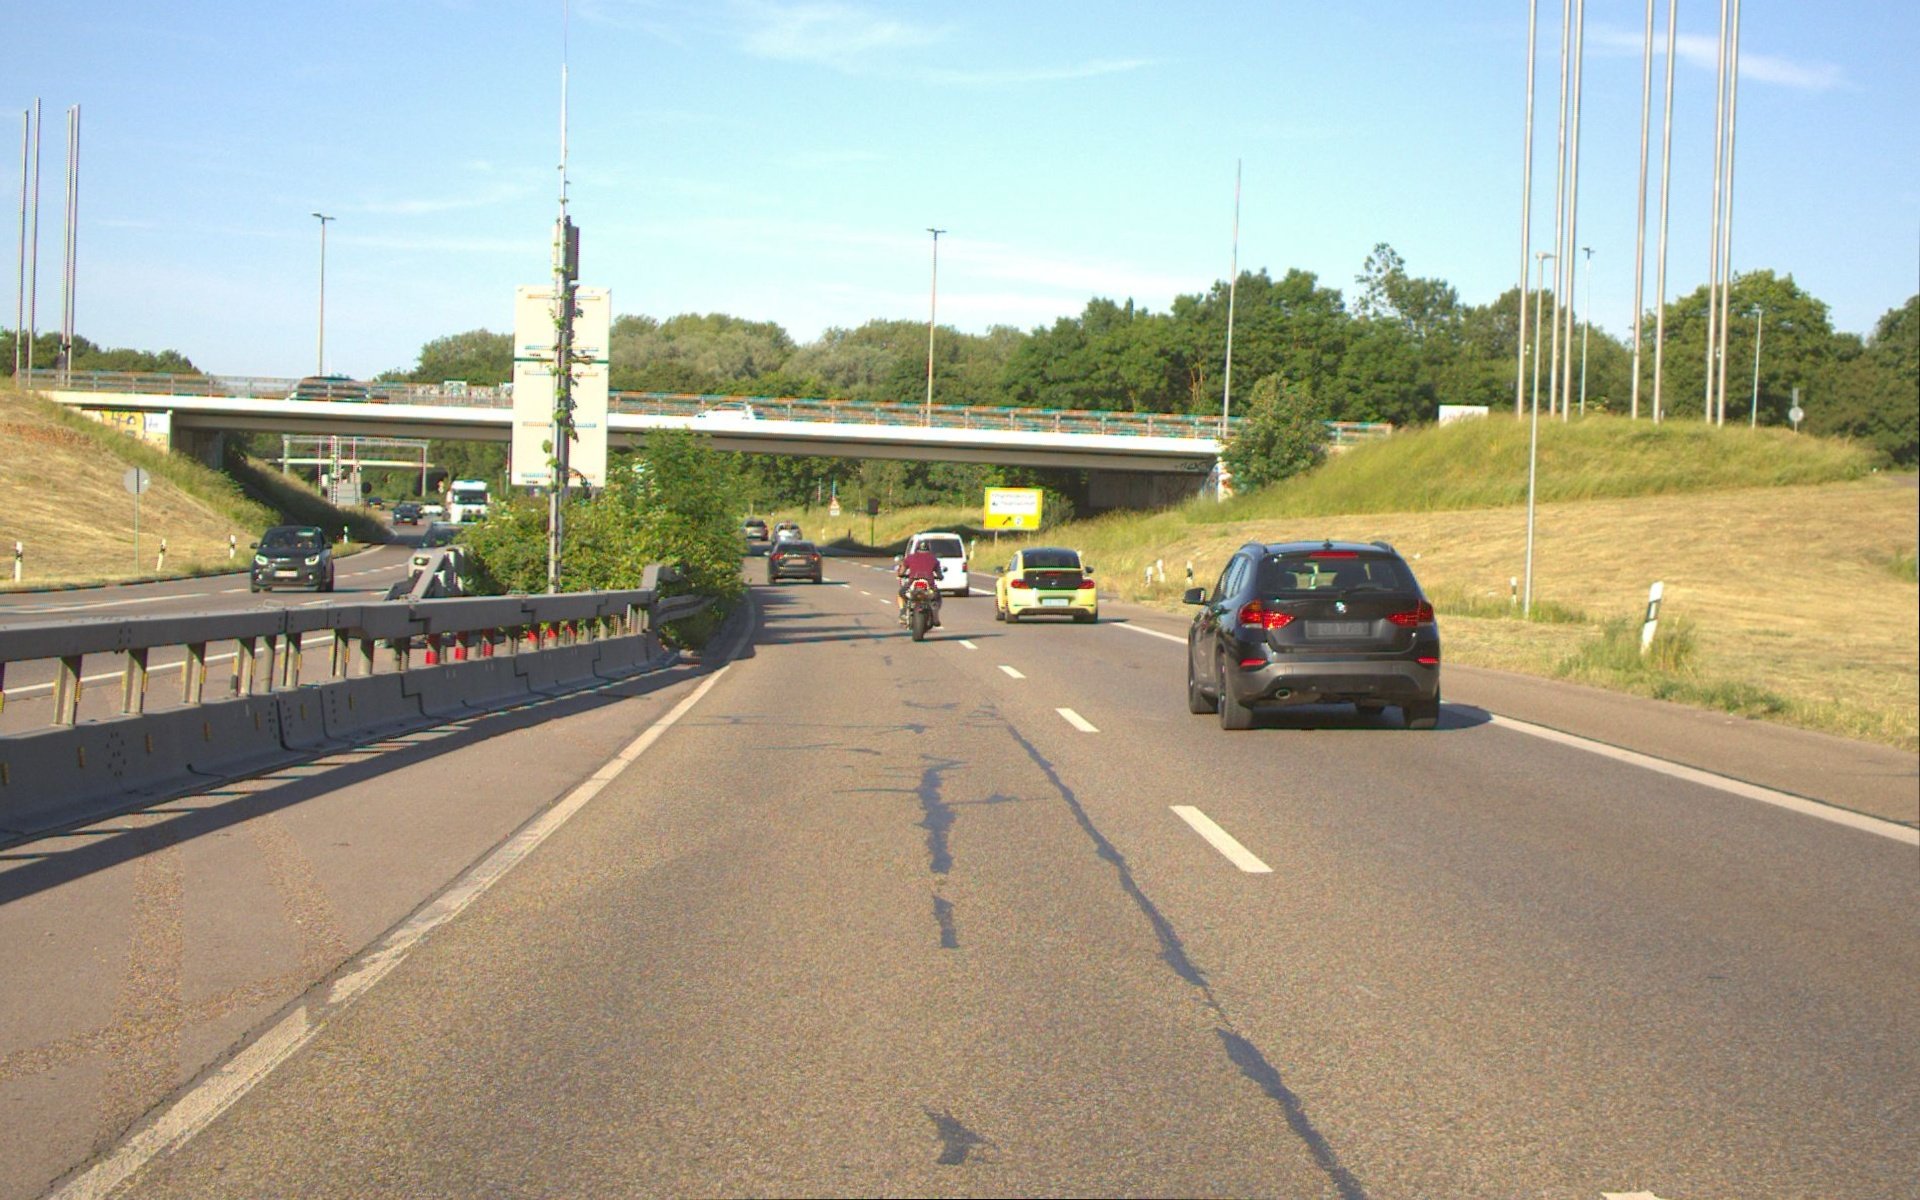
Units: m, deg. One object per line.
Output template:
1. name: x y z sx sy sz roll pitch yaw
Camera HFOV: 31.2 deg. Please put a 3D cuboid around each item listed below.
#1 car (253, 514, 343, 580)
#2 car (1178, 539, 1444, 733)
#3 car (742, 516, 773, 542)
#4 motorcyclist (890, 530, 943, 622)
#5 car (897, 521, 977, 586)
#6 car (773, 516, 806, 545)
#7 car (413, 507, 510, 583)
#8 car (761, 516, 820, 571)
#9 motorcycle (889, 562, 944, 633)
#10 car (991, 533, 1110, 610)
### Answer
1. car: -15.364 -1.240 79.901 1.609 1.480 3.393 1 1 -3
2. car: 2.916 0.247 29.407 1.699 1.501 4.579 -1 1 -1
3. car: -13.701 -4.822 232.774 1.869 1.679 4.000 2 1 -1
4. motorcyclist: -0.698 -0.397 55.466 0.816 1.442 1.094 1 1 1
5. car: -0.660 -1.329 96.367 1.897 1.761 4.001 -1 1 -5
6. car: -10.646 -4.347 214.953 1.869 1.679 4.000 2 1 -1
7. car: -10.712 -1.205 74.061 1.716 1.569 4.164 0 1 -3
8. car: -5.729 -1.915 116.029 1.897 1.761 4.001 2 1 -4
9. motorcycle: -0.695 -0.058 55.726 0.816 1.066 2.836 1 2 1
10. car: 1.757 -0.581 68.039 1.897 1.466 4.001 0 1 -5
